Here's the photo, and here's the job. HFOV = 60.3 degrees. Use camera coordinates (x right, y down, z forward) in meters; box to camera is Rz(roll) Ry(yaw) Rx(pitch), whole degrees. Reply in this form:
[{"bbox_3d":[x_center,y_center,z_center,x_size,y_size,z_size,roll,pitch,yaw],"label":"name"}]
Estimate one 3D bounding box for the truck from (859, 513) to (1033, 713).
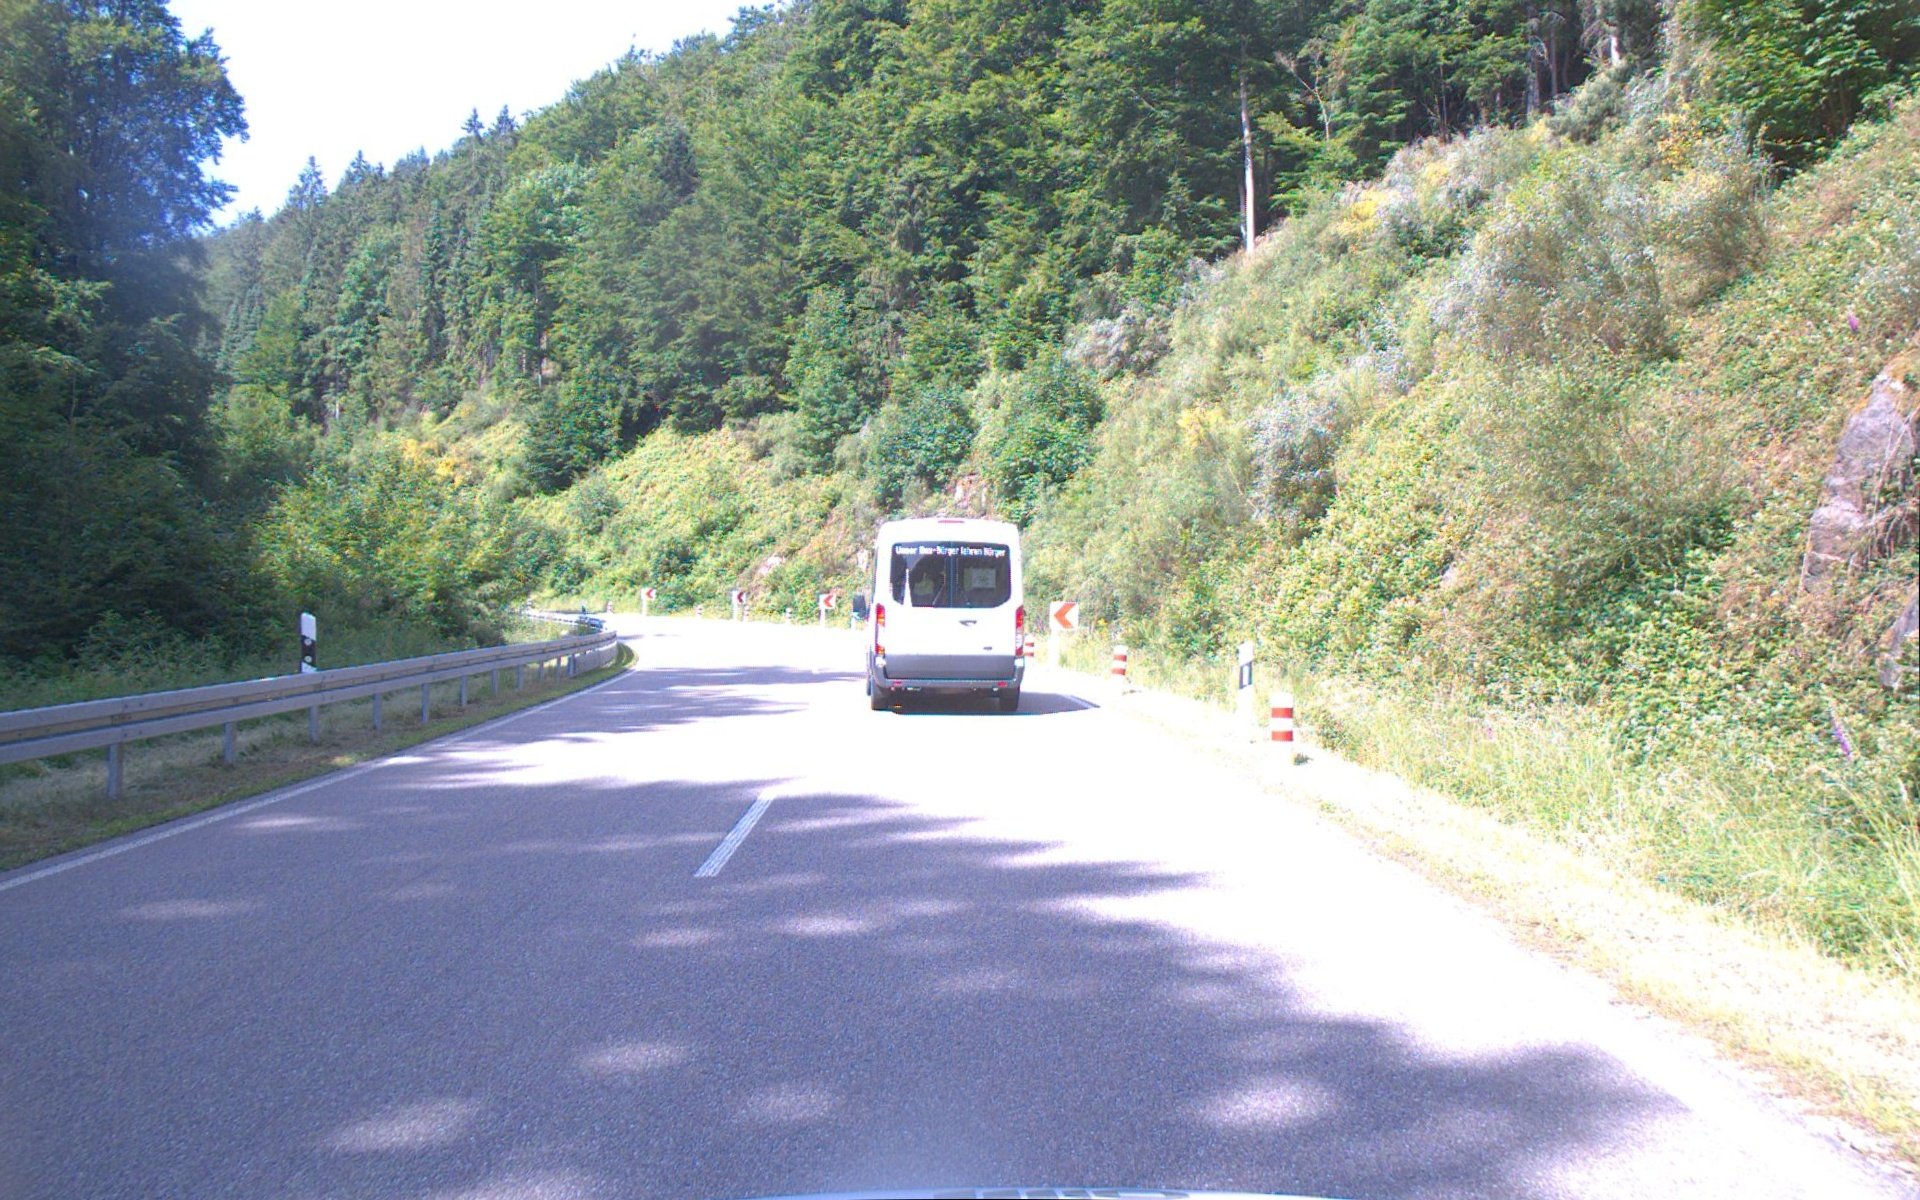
[{"bbox_3d":[-0.318,0.167,23.221,2.043,2.503,4.869,0,0,-5],"label":"truck"}]
